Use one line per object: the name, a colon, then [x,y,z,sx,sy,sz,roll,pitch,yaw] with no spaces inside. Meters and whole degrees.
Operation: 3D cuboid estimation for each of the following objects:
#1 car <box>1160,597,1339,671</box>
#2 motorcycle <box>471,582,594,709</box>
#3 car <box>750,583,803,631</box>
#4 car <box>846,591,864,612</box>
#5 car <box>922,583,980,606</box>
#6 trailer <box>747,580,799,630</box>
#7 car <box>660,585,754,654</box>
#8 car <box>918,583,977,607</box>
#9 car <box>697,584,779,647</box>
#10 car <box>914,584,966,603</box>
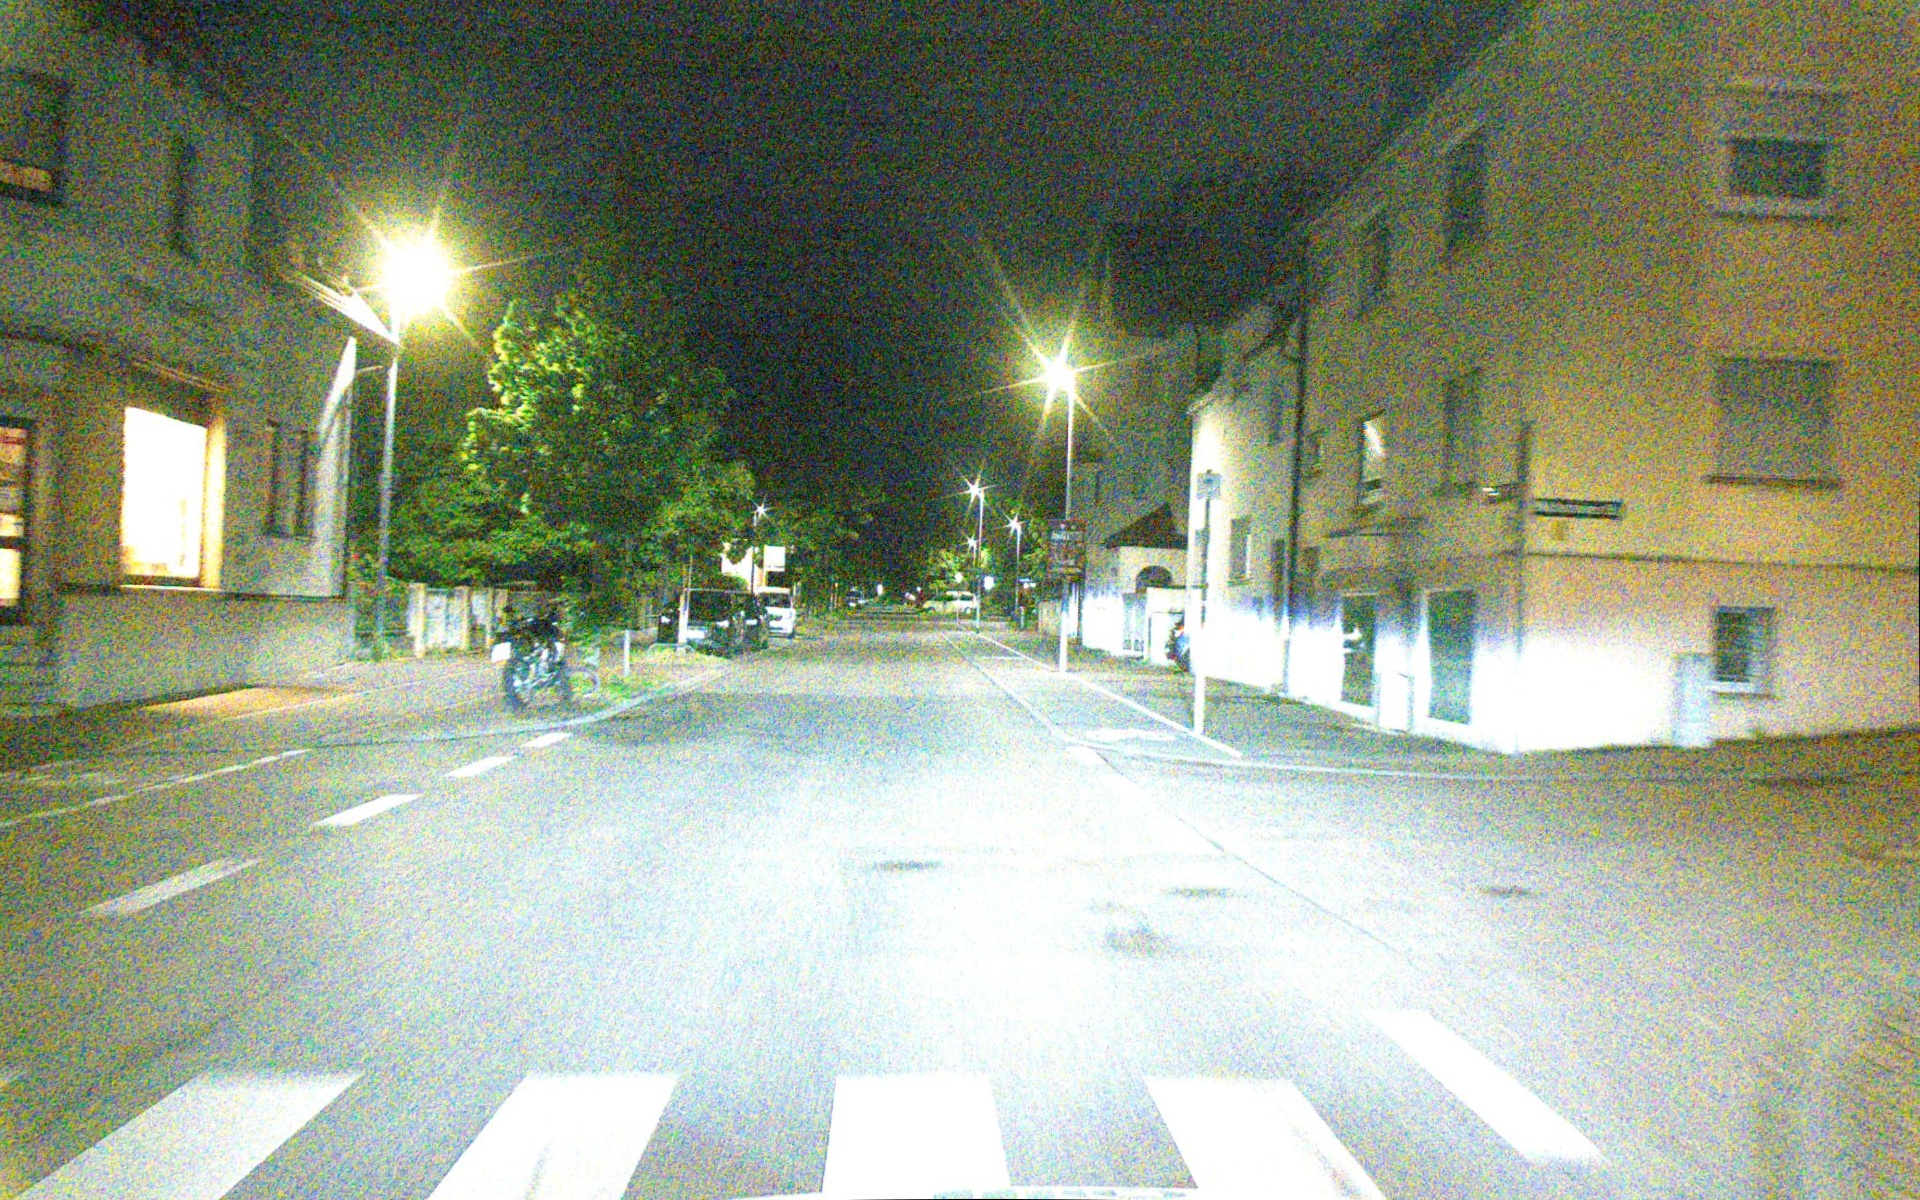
car: [6.353,0.741,36.592,3.635,1.499,1.730,2,0,0]
motorcycle: [-5.262,0.529,20.517,0.730,1.477,2.197,1,0,6]
car: [-6.489,0.246,58.629,1.638,1.548,2.977,4,0,-4]
car: [-10.697,0.160,168.442,1.789,2.021,4.462,3,-1,-4]
car: [-0.791,-0.517,148.284,5.080,2.049,2.100,0,0,-4]
trailer: [-6.970,0.181,61.839,1.418,1.717,3.426,4,0,0]
car: [-5.990,0.425,39.540,1.654,1.537,4.277,1,0,-2]
car: [-1.103,-0.471,145.201,5.080,2.049,2.100,0,0,-4]
car: [-5.952,0.384,44.680,1.731,1.545,4.277,2,0,-2]
car: [-2.010,-0.648,169.949,5.072,1.920,2.103,0,0,7]
